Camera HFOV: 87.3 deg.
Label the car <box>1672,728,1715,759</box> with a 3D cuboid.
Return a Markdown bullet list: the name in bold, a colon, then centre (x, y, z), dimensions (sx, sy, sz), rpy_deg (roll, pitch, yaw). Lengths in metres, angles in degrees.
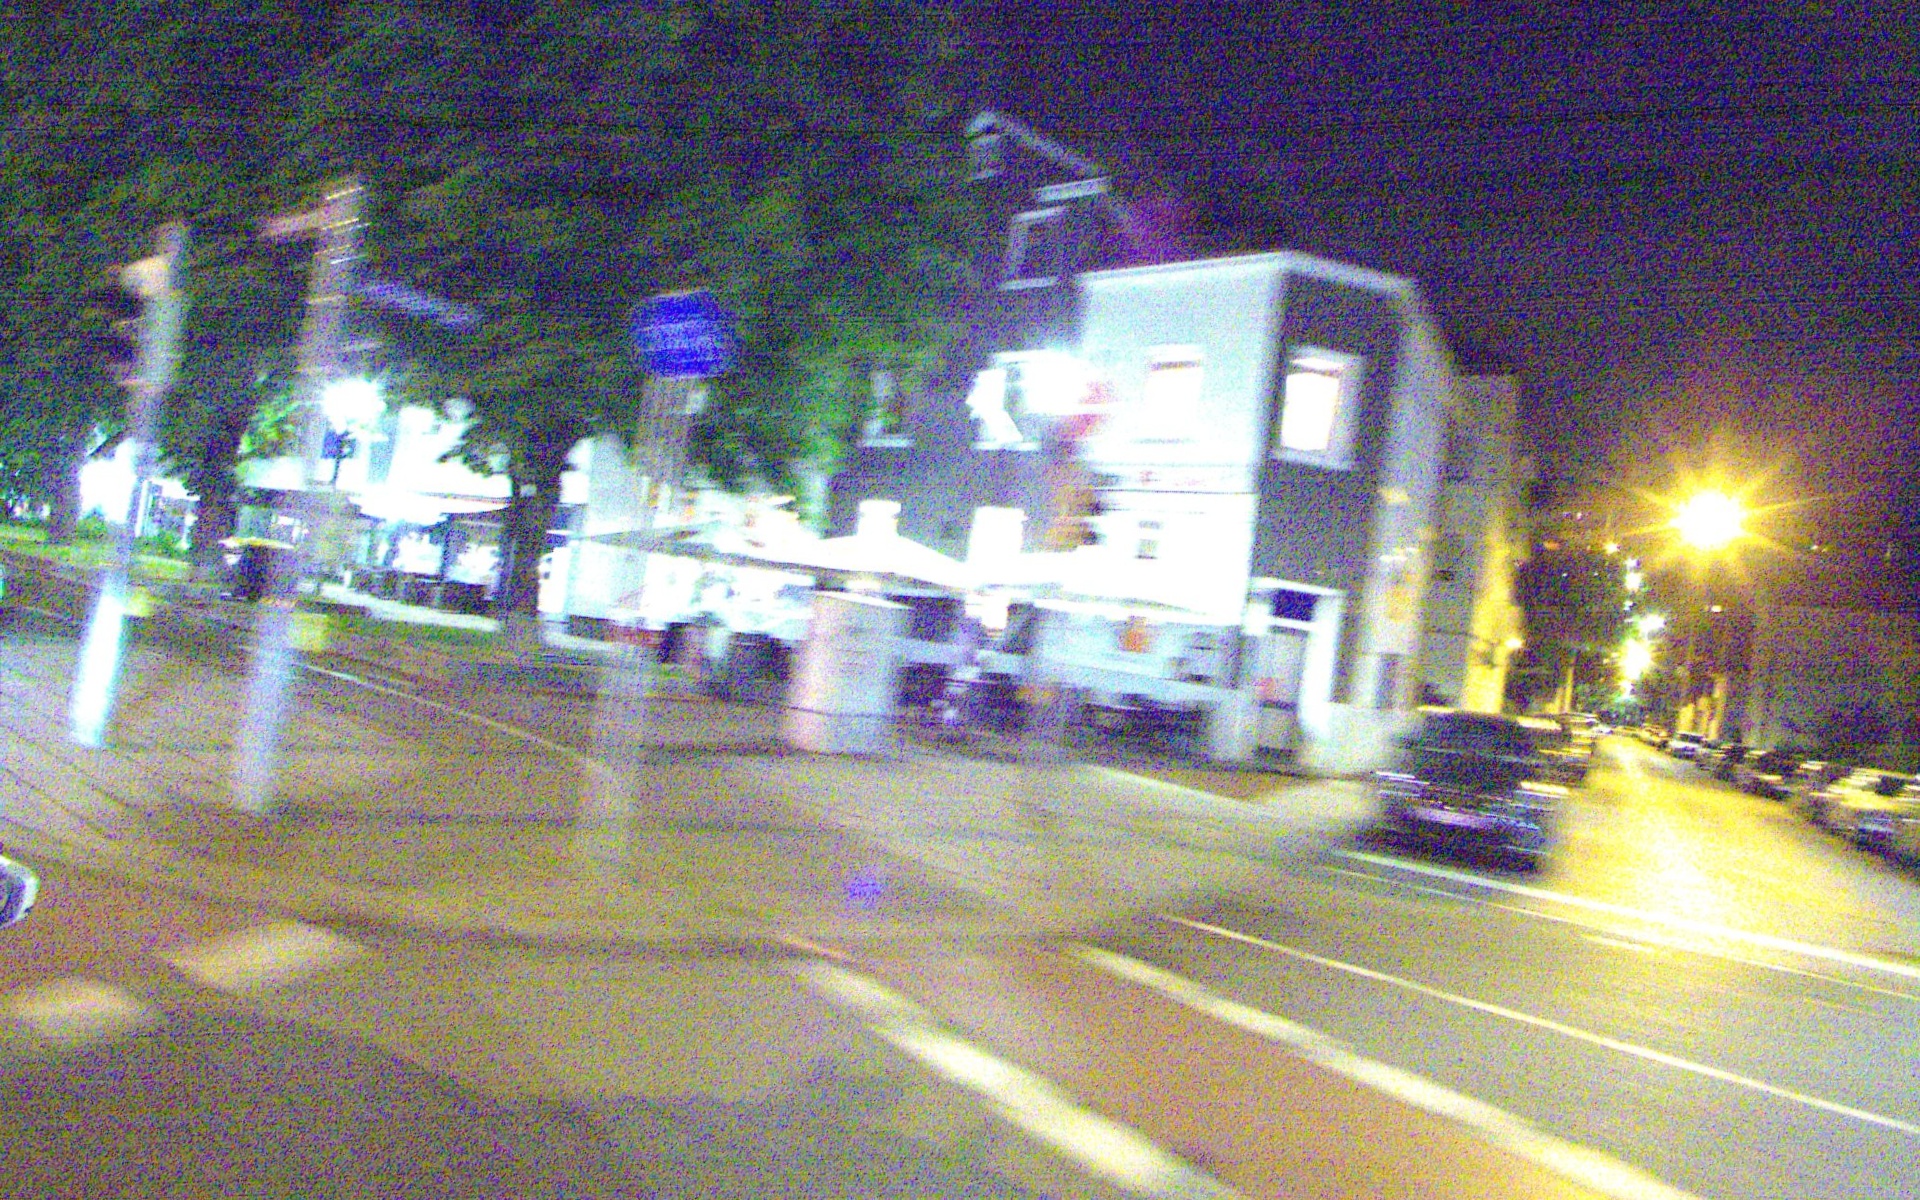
- **car**: centre (46.822, 9.139, 64.287), dimensions (1.774, 1.568, 4.149), rpy_deg (9, 0, 33)

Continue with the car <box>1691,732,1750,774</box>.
- **car**: centre (37.025, 7.416, 49.034), dimensions (1.774, 1.568, 4.149), rpy_deg (9, 0, 33)

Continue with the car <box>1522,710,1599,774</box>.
- **car**: centre (18.138, 4.230, 30.319), dimensions (1.774, 1.567, 4.150), rpy_deg (4, -4, 33)

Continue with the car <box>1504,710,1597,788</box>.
- **car**: centre (14.893, 3.682, 25.285), dimensions (1.774, 1.567, 4.150), rpy_deg (4, -4, 33)

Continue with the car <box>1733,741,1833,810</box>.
- **car**: centre (25.877, 5.460, 31.761), dimensions (1.774, 1.568, 4.149), rpy_deg (9, 0, 33)

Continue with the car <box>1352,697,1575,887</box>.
- **car**: centre (6.009, 2.068, 11.709), dimensions (1.774, 1.549, 4.323), rpy_deg (6, -3, 33)

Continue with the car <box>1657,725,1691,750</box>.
- **car**: centre (56.209, 10.800, 79.226), dimensions (1.774, 1.568, 4.149), rpy_deg (9, 0, 33)

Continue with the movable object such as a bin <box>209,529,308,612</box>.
- **movable object such as a bin**: centre (-13.785, -0.570, 19.779), dimensions (0.977, 1.386, 1.163), rpy_deg (7, -2, 32)

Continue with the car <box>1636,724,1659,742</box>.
- **car**: centre (75.180, 14.493, 110.034), dimensions (1.774, 1.568, 4.149), rpy_deg (9, 0, 33)

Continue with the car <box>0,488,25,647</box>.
- **car**: centre (-11.536, -0.579, 10.427), dimensions (4.149, 1.555, 1.771), rpy_deg (7, 0, 35)

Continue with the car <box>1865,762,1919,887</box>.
- **car**: centre (14.513, 3.339, 14.179), dimensions (1.774, 1.568, 4.149), rpy_deg (9, 0, 33)

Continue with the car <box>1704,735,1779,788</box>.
- **car**: centre (30.952, 6.363, 39.959), dimensions (1.774, 1.568, 4.149), rpy_deg (9, 0, 33)

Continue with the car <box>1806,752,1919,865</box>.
- **car**: centre (17.239, 3.841, 18.554), dimensions (1.774, 1.568, 4.149), rpy_deg (9, 0, 33)

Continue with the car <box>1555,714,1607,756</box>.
- **car**: centre (27.470, 5.947, 44.487), dimensions (1.774, 1.567, 4.150), rpy_deg (4, -4, 33)

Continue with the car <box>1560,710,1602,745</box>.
- **car**: centre (33.232, 6.794, 53.806), dimensions (1.774, 1.567, 4.150), rpy_deg (4, -4, 33)

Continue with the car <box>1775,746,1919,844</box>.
- **car**: centre (20.327, 4.387, 23.165), dimensions (1.774, 1.568, 4.149), rpy_deg (9, 0, 33)

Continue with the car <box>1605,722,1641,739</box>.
- **car**: centre (89.437, 17.577, 135.677), dimensions (3.727, 1.413, 1.468), rpy_deg (9, 0, 27)
